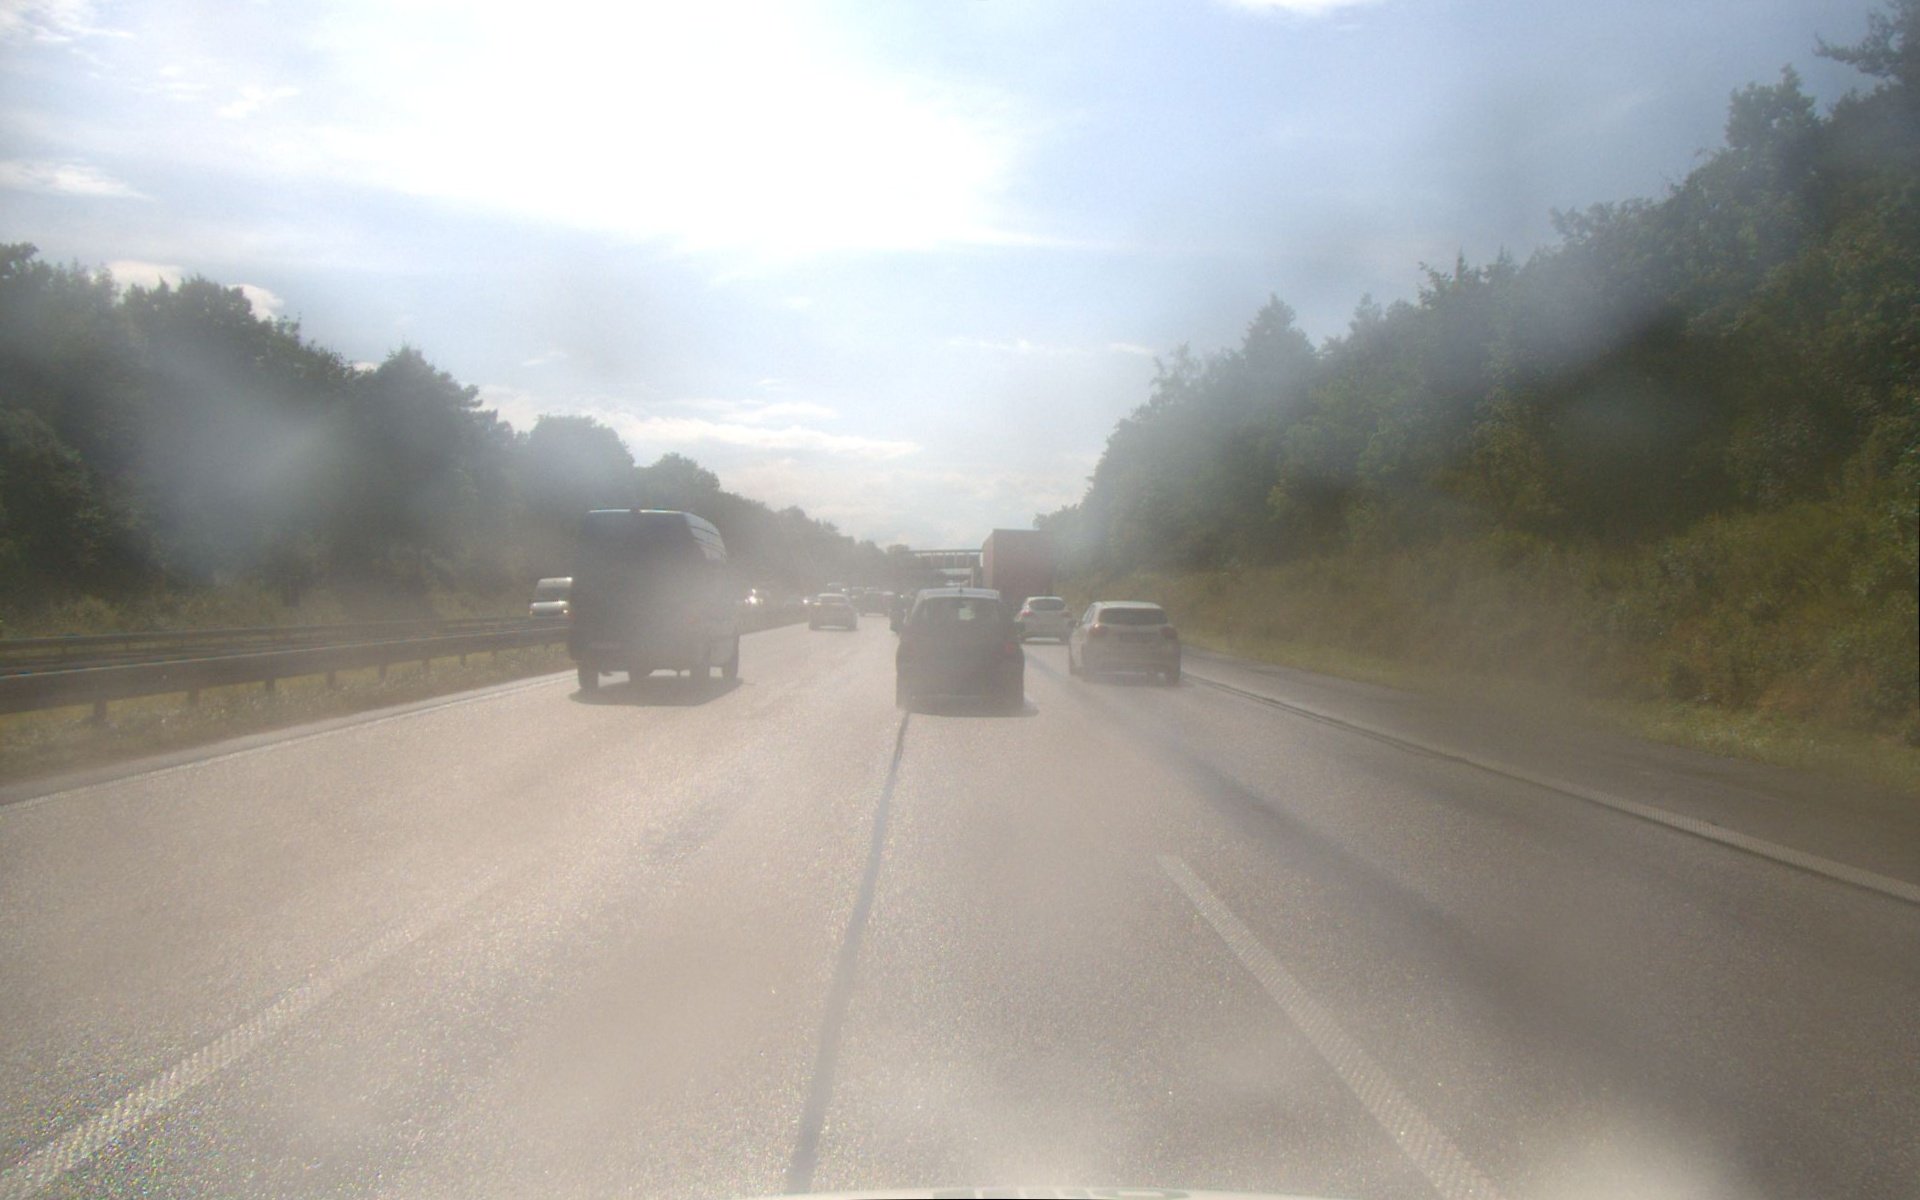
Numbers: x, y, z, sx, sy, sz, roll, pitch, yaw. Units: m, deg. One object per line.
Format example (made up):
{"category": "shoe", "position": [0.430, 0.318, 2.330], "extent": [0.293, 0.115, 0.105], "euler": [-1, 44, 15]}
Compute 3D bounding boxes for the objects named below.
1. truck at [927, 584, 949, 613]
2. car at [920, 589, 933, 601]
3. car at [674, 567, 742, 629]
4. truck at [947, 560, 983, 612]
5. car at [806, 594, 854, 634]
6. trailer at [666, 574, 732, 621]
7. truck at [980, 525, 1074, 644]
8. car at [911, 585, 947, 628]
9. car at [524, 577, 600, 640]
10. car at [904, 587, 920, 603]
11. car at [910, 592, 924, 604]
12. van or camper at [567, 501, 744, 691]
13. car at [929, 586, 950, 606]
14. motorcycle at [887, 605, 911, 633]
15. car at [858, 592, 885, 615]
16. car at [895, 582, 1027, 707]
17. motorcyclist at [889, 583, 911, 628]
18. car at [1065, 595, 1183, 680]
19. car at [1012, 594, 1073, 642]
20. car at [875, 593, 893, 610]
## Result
{"category": "truck", "position": [-2.250, -0.130, 171.369], "extent": [2.148, 2.925, 4.848], "euler": [1, 0, -2]}
{"category": "car", "position": [-5.112, -0.799, 255.914], "extent": [1.953, 1.759, 3.999], "euler": [0, 0, -1]}
{"category": "car", "position": [-10.667, -0.079, 70.371], "extent": [2.139, 2.495, 5.746], "euler": [1, 0, -2]}
{"category": "truck", "position": [0.454, -1.272, 152.846], "extent": [3.189, 4.558, 12.420], "euler": [1, 0, 0]}
{"category": "car", "position": [-5.370, 0.561, 68.587], "extent": [1.817, 1.578, 3.483], "euler": [1, 0, -2]}
{"category": "trailer", "position": [-23.315, -0.229, 149.003], "extent": [2.929, 3.898, 17.951], "euler": [1, 0, 0]}
{"category": "truck", "position": [2.830, -0.646, 76.034], "extent": [3.575, 4.803, 16.778], "euler": [1, 0, 0]}
{"category": "car", "position": [-1.355, 0.268, 71.897], "extent": [1.500, 1.777, 3.483], "euler": [1, 0, -2]}
{"category": "car", "position": [-19.342, 0.396, 80.715], "extent": [2.217, 2.920, 6.929], "euler": [1, 0, -2]}
{"category": "car", "position": [-6.137, -0.620, 212.231], "extent": [1.953, 2.049, 3.999], "euler": [0, 0, -2]}
{"category": "car", "position": [-4.980, -0.210, 190.453], "extent": [1.518, 1.289, 3.483], "euler": [1, 0, -2]}
{"category": "van or camper", "position": [-4.755, -0.051, 26.591], "extent": [1.953, 2.715, 5.383], "euler": [1, 0, -2]}
{"category": "car", "position": [-1.498, -0.305, 120.044], "extent": [1.521, 1.407, 3.209], "euler": [1, 0, -2]}
{"category": "motorcycle", "position": [-2.282, 0.717, 62.386], "extent": [0.873, 1.018, 2.895], "euler": [1, 0, -2]}
{"category": "car", "position": [-5.904, 0.238, 111.094], "extent": [1.716, 1.482, 3.388], "euler": [1, 0, -2]}
{"category": "car", "position": [-0.033, 0.577, 23.180], "extent": [1.683, 1.595, 3.483], "euler": [1, 0, -2]}
{"category": "motorcyclist", "position": [-2.259, 0.219, 62.344], "extent": [0.785, 1.662, 1.013], "euler": [1, 0, -2]}
{"category": "car", "position": [2.996, 0.654, 30.939], "extent": [1.658, 1.450, 4.218], "euler": [1, 0, -2]}
{"category": "car", "position": [2.654, 0.560, 53.845], "extent": [1.646, 1.467, 3.903], "euler": [1, 0, -2]}
{"category": "car", "position": [-6.382, 0.114, 138.758], "extent": [1.431, 1.418, 3.310], "euler": [1, 0, -2]}
